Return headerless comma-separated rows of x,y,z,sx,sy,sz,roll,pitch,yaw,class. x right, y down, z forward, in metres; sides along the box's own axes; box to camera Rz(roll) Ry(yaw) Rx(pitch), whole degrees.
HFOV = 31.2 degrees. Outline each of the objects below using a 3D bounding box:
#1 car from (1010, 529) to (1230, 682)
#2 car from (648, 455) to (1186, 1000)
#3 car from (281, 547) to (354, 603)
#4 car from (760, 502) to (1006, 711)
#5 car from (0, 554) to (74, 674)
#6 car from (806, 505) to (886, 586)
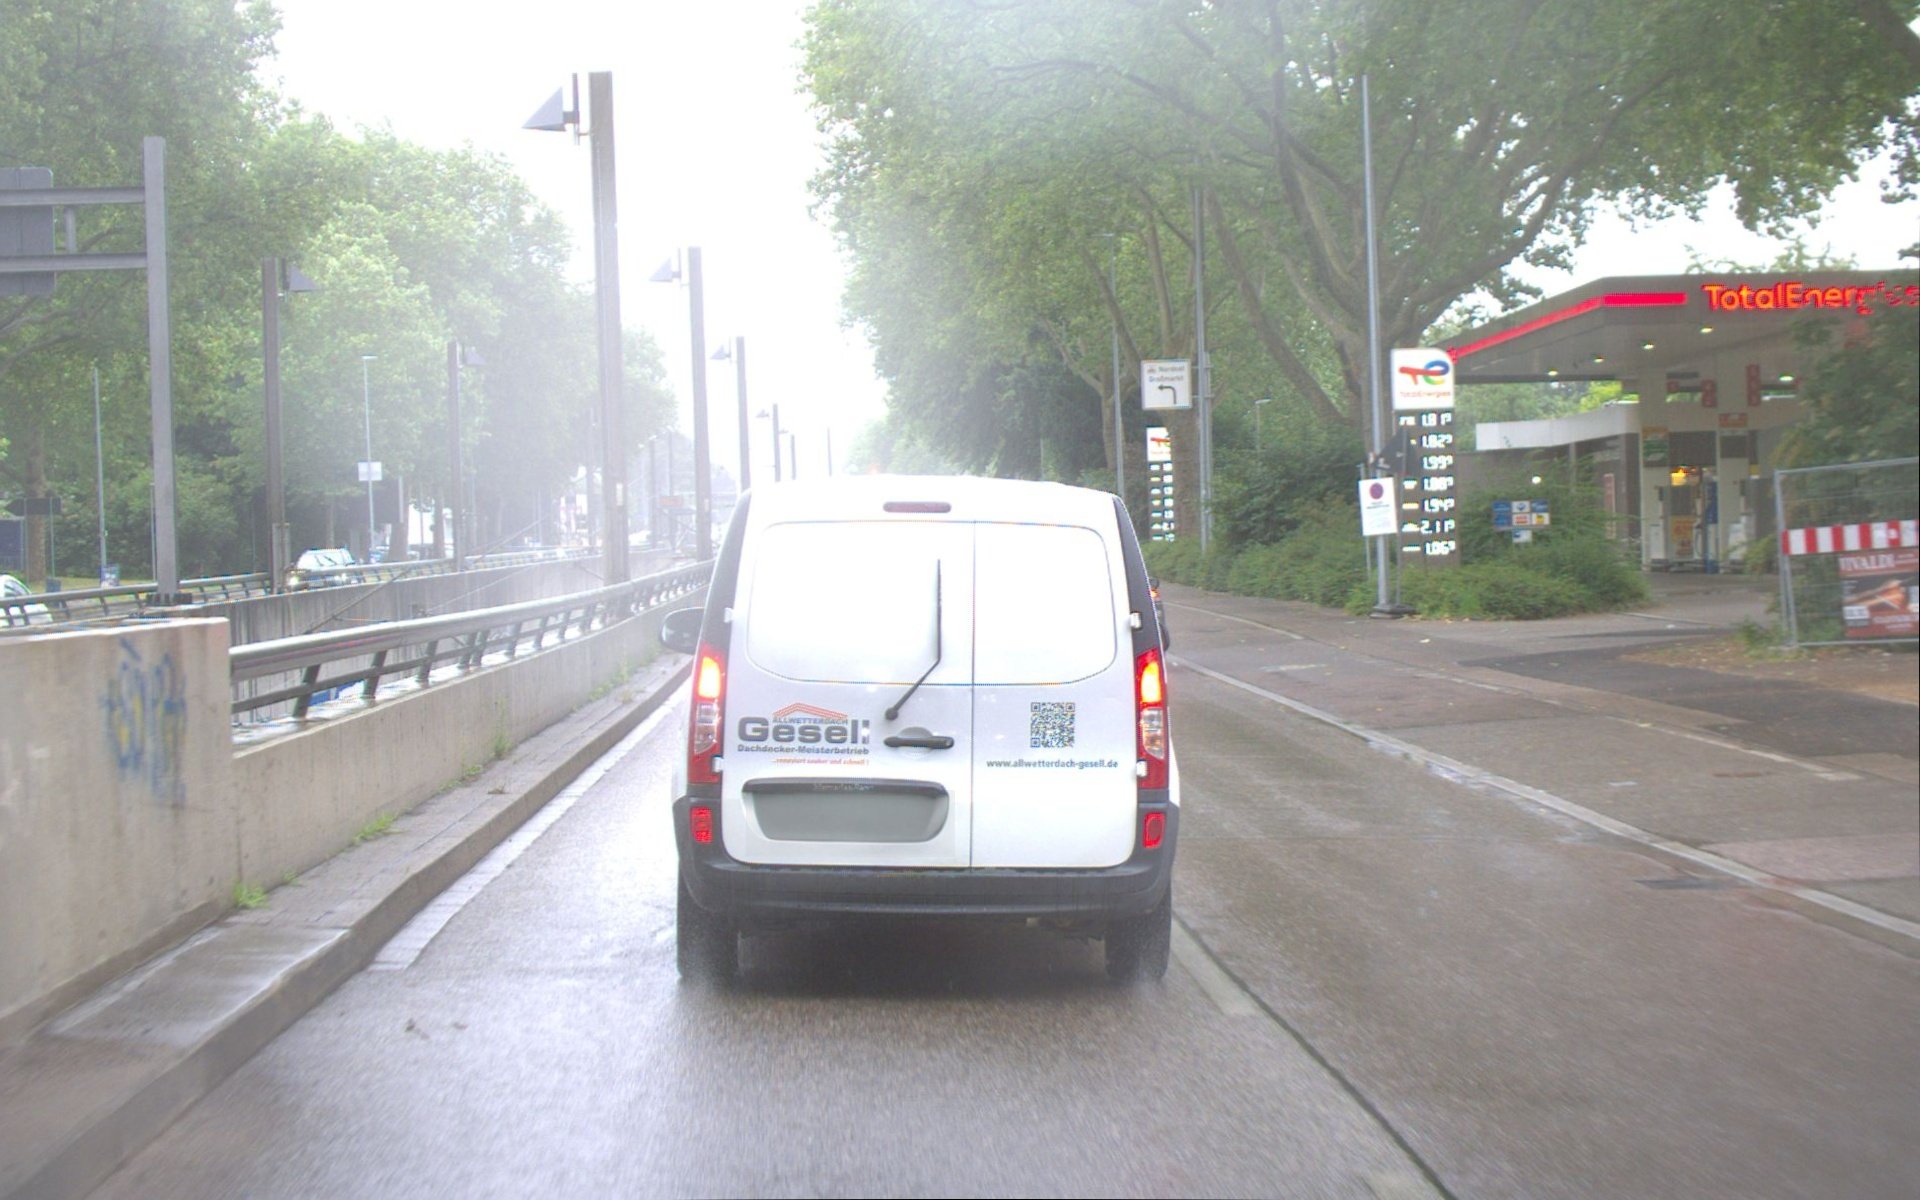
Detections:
1.788,0.040,39.694,1.993,1.579,4.001,-3,1,-4,car
-0.255,0.394,13.281,1.755,1.771,4.001,0,1,-3,car
-19.341,-0.778,103.567,1.907,1.565,4.001,-2,1,-8,car
-0.684,0.022,29.780,1.917,1.603,4.000,-3,1,-2,car
-14.164,0.201,49.111,1.993,1.626,4.581,-2,1,-3,car
-3.160,-1.518,95.736,2.048,2.132,4.000,-2,1,0,car
